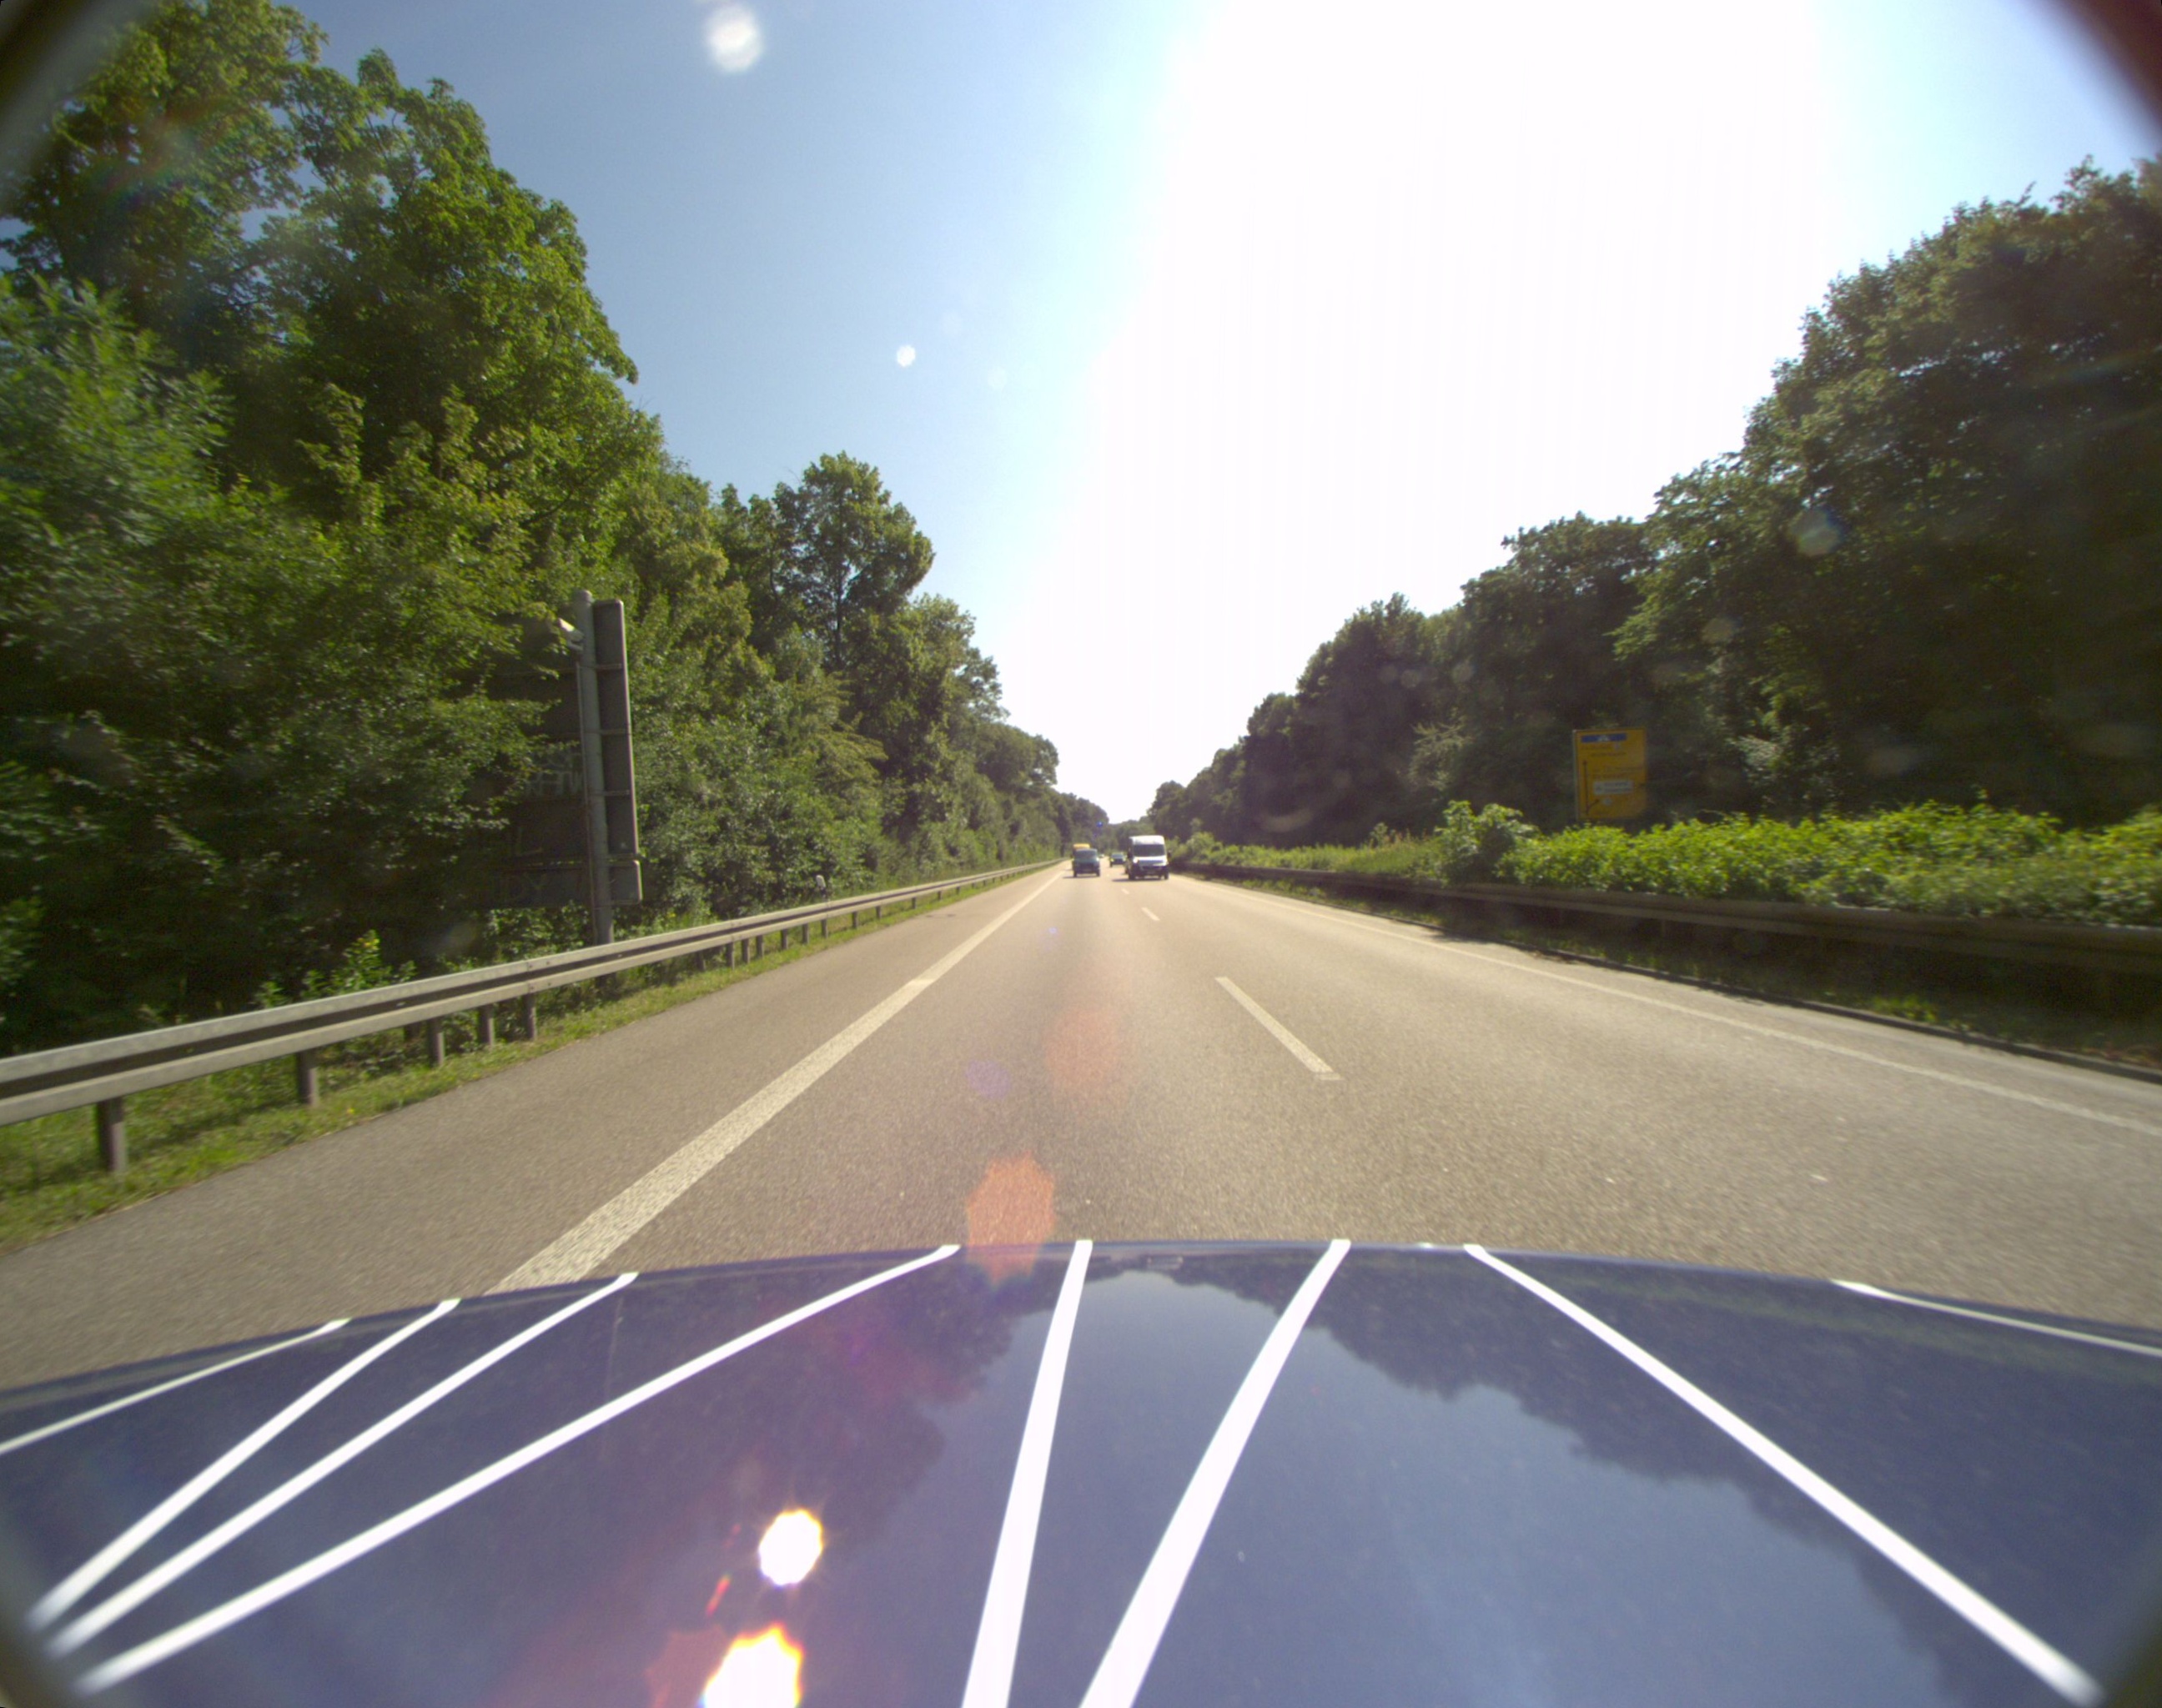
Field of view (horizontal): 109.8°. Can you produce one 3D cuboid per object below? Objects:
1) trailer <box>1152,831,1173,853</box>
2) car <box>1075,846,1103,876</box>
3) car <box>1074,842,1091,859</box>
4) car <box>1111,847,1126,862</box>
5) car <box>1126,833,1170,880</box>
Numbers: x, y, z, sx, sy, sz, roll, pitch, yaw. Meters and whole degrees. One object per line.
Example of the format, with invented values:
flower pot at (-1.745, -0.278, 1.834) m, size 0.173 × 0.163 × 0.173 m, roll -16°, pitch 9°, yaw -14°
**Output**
trailer at (16.692, -2.425, 156.945) m, size 2.836 × 4.275 × 13.662 m, roll -2°, pitch 1°, yaw 1°
car at (0.546, 0.434, 52.682) m, size 1.812 × 1.921 × 4.581 m, roll -2°, pitch 1°, yaw 0°
car at (0.195, -0.389, 79.743) m, size 1.737 × 1.624 × 3.899 m, roll -2°, pitch 1°, yaw 1°
car at (4.289, 0.051, 86.829) m, size 1.517 × 1.624 × 3.611 m, roll -2°, pitch 1°, yaw 1°
car at (3.757, 0.121, 43.243) m, size 2.046 × 2.429 × 4.637 m, roll -2°, pitch 1°, yaw 0°
